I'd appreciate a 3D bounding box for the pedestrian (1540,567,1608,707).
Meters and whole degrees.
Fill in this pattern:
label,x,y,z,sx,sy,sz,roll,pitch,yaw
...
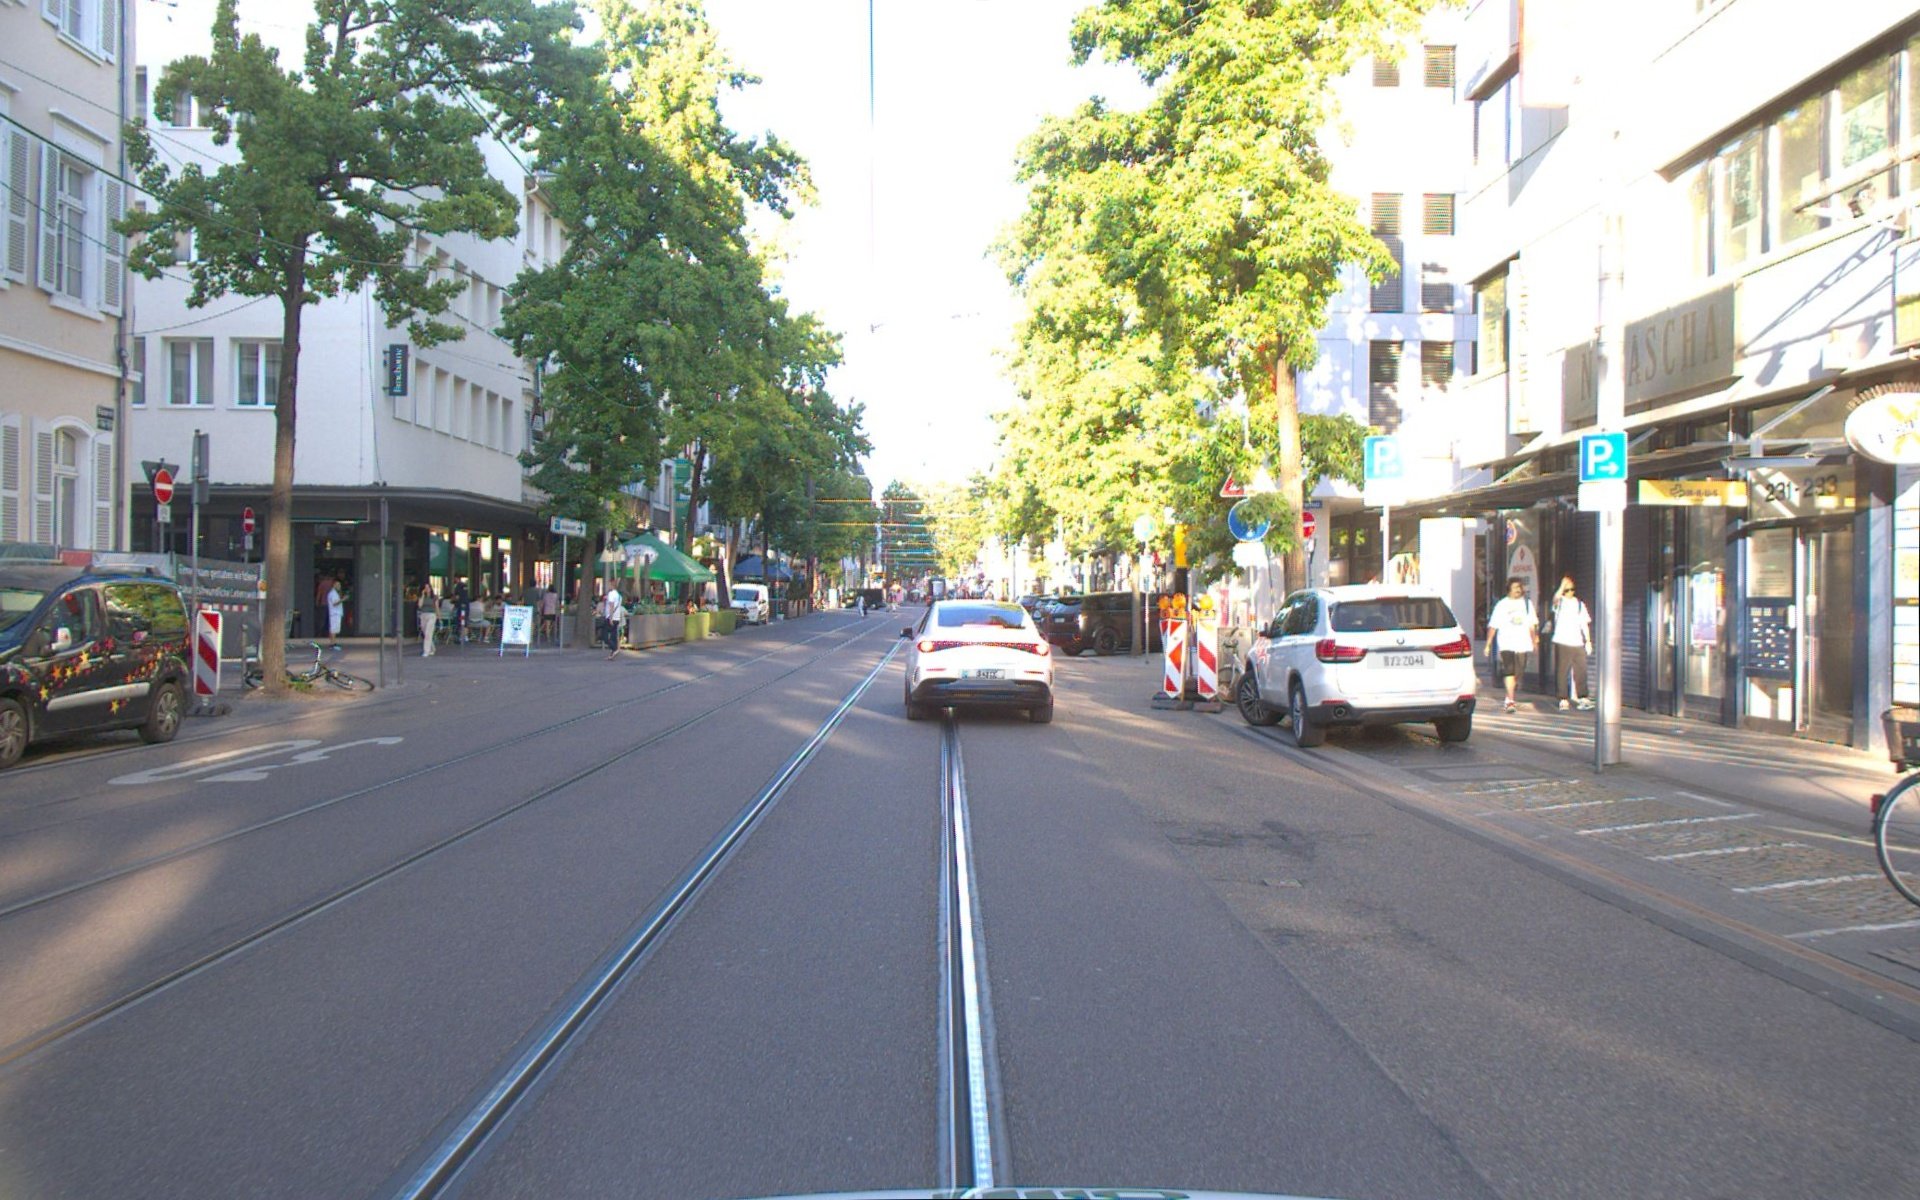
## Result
label,x,y,z,sx,sy,sz,roll,pitch,yaw
pedestrian,8.276,0.495,22.294,0.674,1.862,0.634,0,0,-1

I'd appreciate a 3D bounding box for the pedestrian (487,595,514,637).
label,x,y,z,sx,sy,sz,roll,pitch,yaw
pedestrian,-13.189,0.466,47.492,0.541,1.182,0.687,2,0,0

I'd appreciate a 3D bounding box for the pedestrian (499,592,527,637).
label,x,y,z,sx,sy,sz,roll,pitch,yaw
pedestrian,-13.465,0.443,49.832,0.590,1.321,0.687,2,0,0

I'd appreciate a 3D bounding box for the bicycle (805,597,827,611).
label,x,y,z,sx,sy,sz,roll,pitch,yaw
bicycle,-10.571,0.308,121.247,1.562,0.947,0.377,2,0,6

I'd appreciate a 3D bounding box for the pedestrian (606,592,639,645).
label,x,y,z,sx,sy,sz,roll,pitch,yaw
pedestrian,-9.214,0.505,45.207,0.675,1.410,0.807,2,0,0

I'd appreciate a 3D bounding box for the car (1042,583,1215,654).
label,x,y,z,sx,sy,sz,roll,pitch,yaw
car,4.815,0.509,47.020,4.603,1.794,1.974,-3,0,-30

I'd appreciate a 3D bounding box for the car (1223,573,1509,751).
label,x,y,z,sx,sy,sz,roll,pitch,yaw
car,4.623,0.635,19.691,1.982,1.768,4.905,-2,0,-2

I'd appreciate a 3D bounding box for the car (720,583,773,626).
label,x,y,z,sx,sy,sz,roll,pitch,yaw
car,-10.024,0.190,77.985,1.759,1.897,4.553,3,0,0

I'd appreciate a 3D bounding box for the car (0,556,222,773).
label,x,y,z,sx,sy,sz,roll,pitch,yaw
car,-9.117,0.528,15.996,1.819,1.864,4.559,1,0,1

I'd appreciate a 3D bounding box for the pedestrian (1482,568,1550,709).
label,x,y,z,sx,sy,sz,roll,pitch,yaw
pedestrian,7.459,0.507,22.198,0.691,1.862,0.634,0,0,-1

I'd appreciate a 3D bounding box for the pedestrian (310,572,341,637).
label,x,y,z,sx,sy,sz,roll,pitch,yaw
pedestrian,-16.196,0.108,42.236,0.396,1.632,0.619,0,0,33

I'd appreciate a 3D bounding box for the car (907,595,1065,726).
label,x,y,z,sx,sy,sz,roll,pitch,yaw
car,0.275,0.701,21.397,1.819,1.481,4.174,1,0,-1

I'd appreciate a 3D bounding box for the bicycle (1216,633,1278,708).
label,x,y,z,sx,sy,sz,roll,pitch,yaw
bicycle,4.161,1.008,24.077,0.483,0.999,1.929,0,0,-2

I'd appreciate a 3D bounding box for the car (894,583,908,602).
label,x,y,z,sx,sy,sz,roll,pitch,yaw
car,-9.008,-1.122,253.563,1.953,2.948,5.274,0,0,0

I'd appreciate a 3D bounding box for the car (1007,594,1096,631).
label,x,y,z,sx,sy,sz,roll,pitch,yaw
car,4.619,0.612,83.595,4.301,1.681,1.676,-2,0,-32

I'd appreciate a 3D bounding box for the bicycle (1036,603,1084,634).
label,x,y,z,sx,sy,sz,roll,pitch,yaw
bicycle,4.071,0.752,67.402,1.870,1.139,0.661,-2,0,-30

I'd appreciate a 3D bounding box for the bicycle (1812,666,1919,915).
label,x,y,z,sx,sy,sz,roll,pitch,yaw
bicycle,5.367,0.909,8.244,1.774,1.154,0.841,-2,-1,7

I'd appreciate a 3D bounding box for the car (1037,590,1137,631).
label,x,y,z,sx,sy,sz,roll,pitch,yaw
car,5.553,0.436,72.201,4.110,1.598,1.832,-2,1,-34

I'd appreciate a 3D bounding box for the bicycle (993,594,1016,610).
label,x,y,z,sx,sy,sz,roll,pitch,yaw
bicycle,3.824,0.184,142.528,1.874,1.303,0.608,-2,0,-12

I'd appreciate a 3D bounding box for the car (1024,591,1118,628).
label,x,y,z,sx,sy,sz,roll,pitch,yaw
car,5.335,0.454,79.580,4.195,1.615,1.864,-2,0,-32

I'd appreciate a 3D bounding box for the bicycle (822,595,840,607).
label,x,y,z,sx,sy,sz,roll,pitch,yaw
bicycle,-11.226,0.108,143.997,1.466,1.047,0.344,2,0,-11

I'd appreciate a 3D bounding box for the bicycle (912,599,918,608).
label,x,y,z,sx,sy,sz,roll,pitch,yaw
bicycle,-6.224,0.500,228.857,0.784,1.162,2.256,2,0,-2

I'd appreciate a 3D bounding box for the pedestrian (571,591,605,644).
label,x,y,z,sx,sy,sz,roll,pitch,yaw
pedestrian,-10.185,0.462,45.302,0.675,1.410,0.807,2,0,0

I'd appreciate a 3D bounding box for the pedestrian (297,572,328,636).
label,x,y,z,sx,sy,sz,roll,pitch,yaw
pedestrian,-16.778,0.104,42.879,0.396,1.632,0.619,0,0,33

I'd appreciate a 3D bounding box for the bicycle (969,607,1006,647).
label,x,y,z,sx,sy,sz,roll,pitch,yaw
bicycle,0.757,0.717,44.408,0.703,1.012,2.060,2,0,8

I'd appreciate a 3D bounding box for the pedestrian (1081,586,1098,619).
label,x,y,z,sx,sy,sz,roll,pitch,yaw
pedestrian,7.164,0.129,91.477,0.677,1.761,0.629,-2,0,41

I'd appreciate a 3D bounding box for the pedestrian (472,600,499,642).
label,x,y,z,sx,sy,sz,roll,pitch,yaw
pedestrian,-13.692,0.595,47.720,0.541,1.182,0.687,2,0,0

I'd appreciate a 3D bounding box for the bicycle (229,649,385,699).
label,x,y,z,sx,sy,sz,roll,pitch,yaw
bicycle,-9.661,1.089,24.528,1.758,0.619,1.282,2,0,2

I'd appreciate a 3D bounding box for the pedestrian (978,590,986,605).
label,x,y,z,sx,sy,sz,roll,pitch,yaw
pedestrian,2.627,-0.282,199.782,0.941,1.816,0.803,-1,0,-1

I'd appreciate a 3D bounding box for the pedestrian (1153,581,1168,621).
label,x,y,z,sx,sy,sz,roll,pitch,yaw
pedestrian,9.194,0.047,75.867,0.546,1.781,0.525,-2,0,-1

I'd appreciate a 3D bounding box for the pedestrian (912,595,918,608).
label,x,y,z,sx,sy,sz,roll,pitch,yaw
pedestrian,-6.215,0.179,228.857,0.784,1.813,0.848,2,0,-2

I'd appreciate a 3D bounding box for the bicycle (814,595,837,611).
label,x,y,z,sx,sy,sz,roll,pitch,yaw
bicycle,-10.136,0.224,124.669,1.754,1.096,0.377,2,0,-5
